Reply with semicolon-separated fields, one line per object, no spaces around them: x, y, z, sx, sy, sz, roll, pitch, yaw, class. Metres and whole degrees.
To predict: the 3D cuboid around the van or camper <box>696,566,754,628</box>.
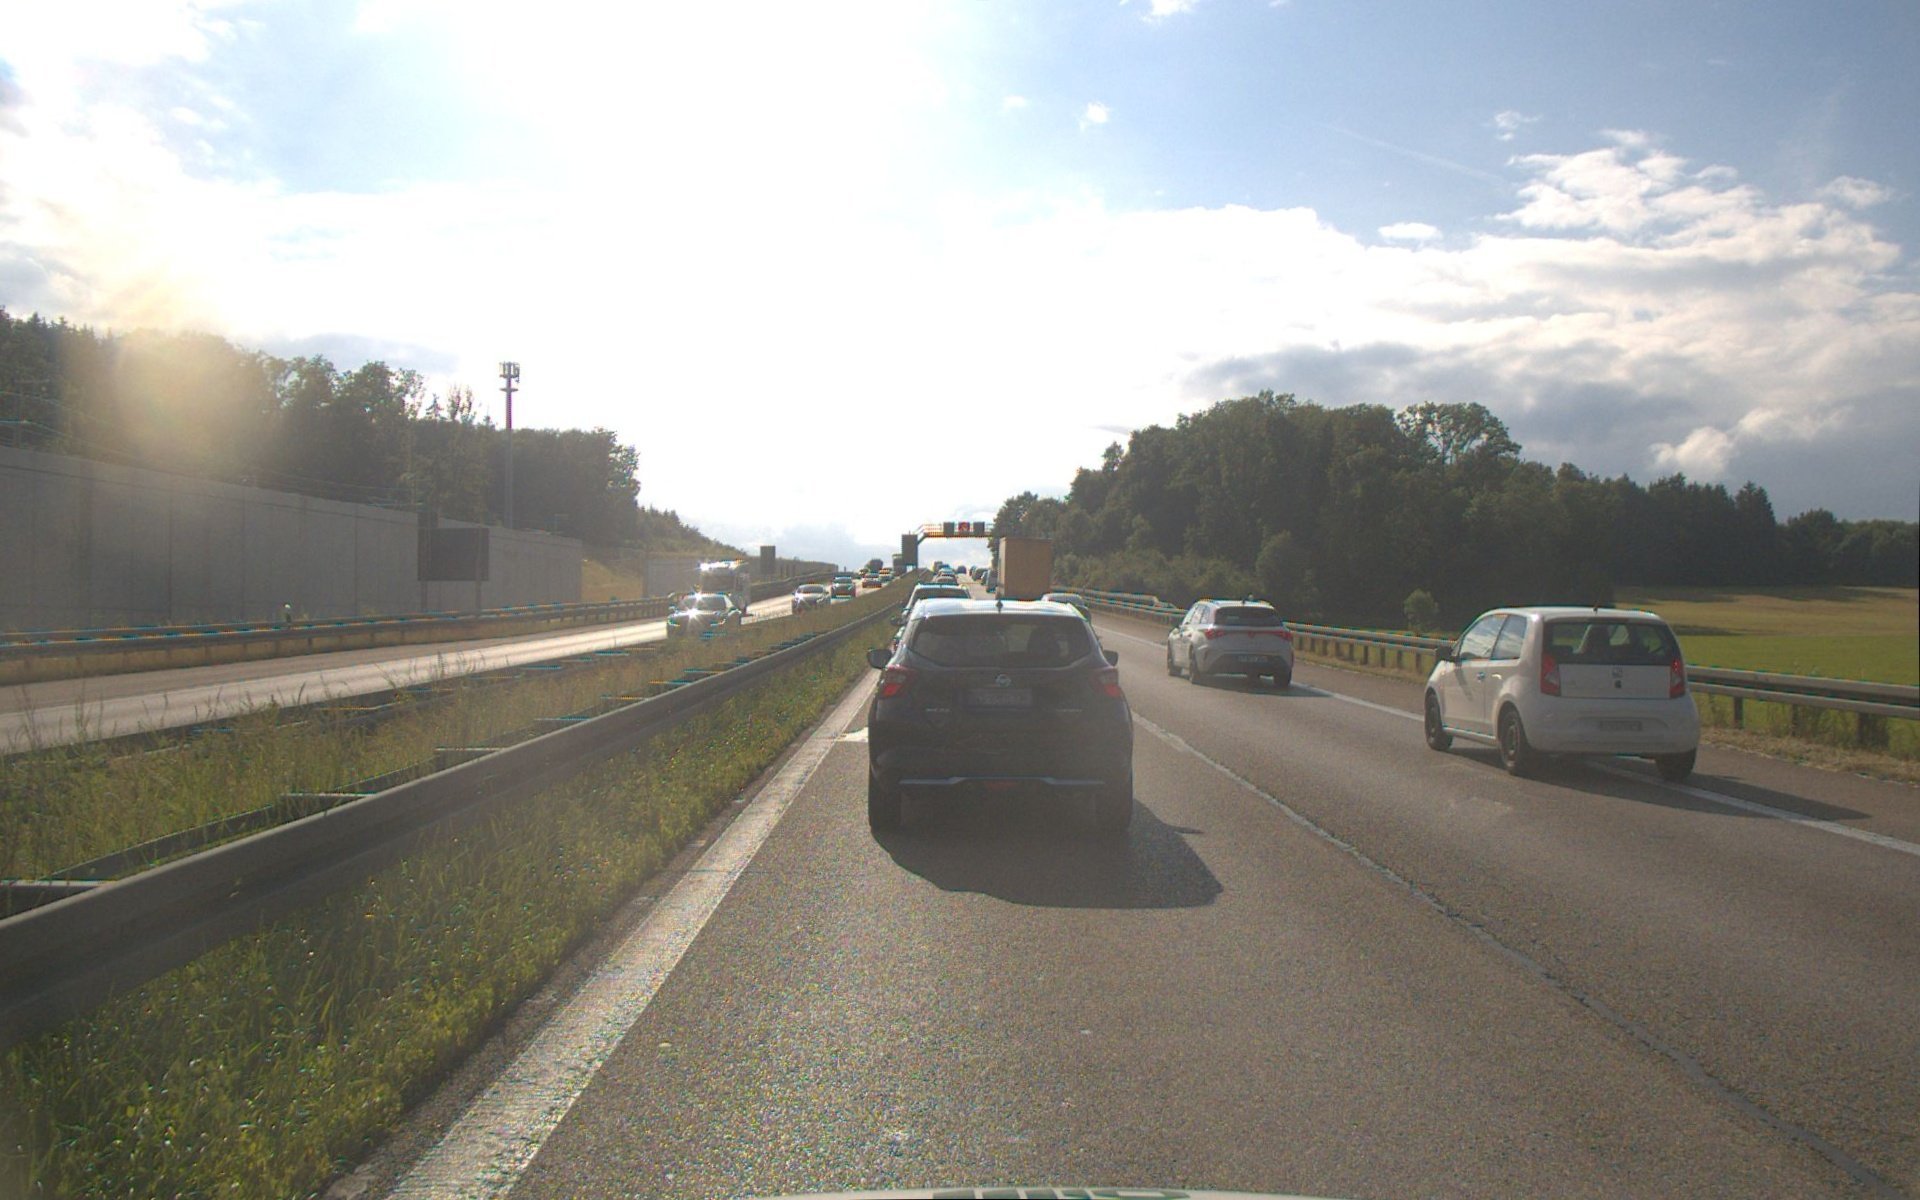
-12.374;-0.132;87.462;2.180;3.133;6.511;1;0;-1;van or camper

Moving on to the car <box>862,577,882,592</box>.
-9.135;-1.583;172.302;1.953;1.458;4.447;1;0;-1;car

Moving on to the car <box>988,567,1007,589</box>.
3.263;-1.914;145.338;1.632;1.785;3.327;1;0;1;car

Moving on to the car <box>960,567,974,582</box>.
1.063;-3.828;246.787;1.953;2.049;3.999;1;0;-1;car

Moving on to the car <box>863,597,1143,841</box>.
0.292;0.731;11.683;1.675;1.451;3.378;1;-1;1;car

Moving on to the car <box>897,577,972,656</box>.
-0.547;0.381;38.703;1.639;1.756;3.596;1;-1;1;car

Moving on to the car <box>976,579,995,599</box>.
2.726;-1.205;178.843;1.953;2.049;3.999;1;0;-1;car

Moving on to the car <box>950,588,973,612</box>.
0.143;0.002;148.246;1.953;2.049;3.999;1;0;-1;car

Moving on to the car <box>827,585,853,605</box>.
-9.260;-0.390;127.872;1.816;1.458;4.447;1;0;-1;car

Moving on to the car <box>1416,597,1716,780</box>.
5.614;0.751;15.733;1.517;1.521;3.377;1;0;-2;car

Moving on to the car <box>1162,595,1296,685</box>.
4.738;0.686;29.648;1.588;1.471;4.145;1;0;-2;car

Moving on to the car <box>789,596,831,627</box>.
-8.147;0.604;90.417;1.953;1.621;4.447;1;0;-1;car

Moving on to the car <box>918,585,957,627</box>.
-1.154;0.295;84.017;1.953;2.049;3.999;1;0;-1;car

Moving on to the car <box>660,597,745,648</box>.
-7.809;0.682;50.445;1.953;1.458;4.447;1;0;-1;car

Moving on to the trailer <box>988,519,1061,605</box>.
3.601;-2.039;95.633;3.476;4.535;12.719;1;0;-1;trailer

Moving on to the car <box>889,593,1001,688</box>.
-0.204;0.612;26.376;1.639;1.391;3.596;1;-1;1;car

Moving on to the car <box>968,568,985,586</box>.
2.031;-2.824;201.022;1.953;2.049;3.999;1;0;-1;car

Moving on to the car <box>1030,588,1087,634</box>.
3.305;0.373;56.227;1.711;1.501;4.147;1;0;1;car

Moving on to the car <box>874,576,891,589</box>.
-9.479;-2.163;201.554;1.953;1.458;4.447;1;0;-1;car

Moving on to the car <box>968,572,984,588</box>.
2.094;-2.647;218.582;1.953;2.049;3.999;1;0;-1;car
